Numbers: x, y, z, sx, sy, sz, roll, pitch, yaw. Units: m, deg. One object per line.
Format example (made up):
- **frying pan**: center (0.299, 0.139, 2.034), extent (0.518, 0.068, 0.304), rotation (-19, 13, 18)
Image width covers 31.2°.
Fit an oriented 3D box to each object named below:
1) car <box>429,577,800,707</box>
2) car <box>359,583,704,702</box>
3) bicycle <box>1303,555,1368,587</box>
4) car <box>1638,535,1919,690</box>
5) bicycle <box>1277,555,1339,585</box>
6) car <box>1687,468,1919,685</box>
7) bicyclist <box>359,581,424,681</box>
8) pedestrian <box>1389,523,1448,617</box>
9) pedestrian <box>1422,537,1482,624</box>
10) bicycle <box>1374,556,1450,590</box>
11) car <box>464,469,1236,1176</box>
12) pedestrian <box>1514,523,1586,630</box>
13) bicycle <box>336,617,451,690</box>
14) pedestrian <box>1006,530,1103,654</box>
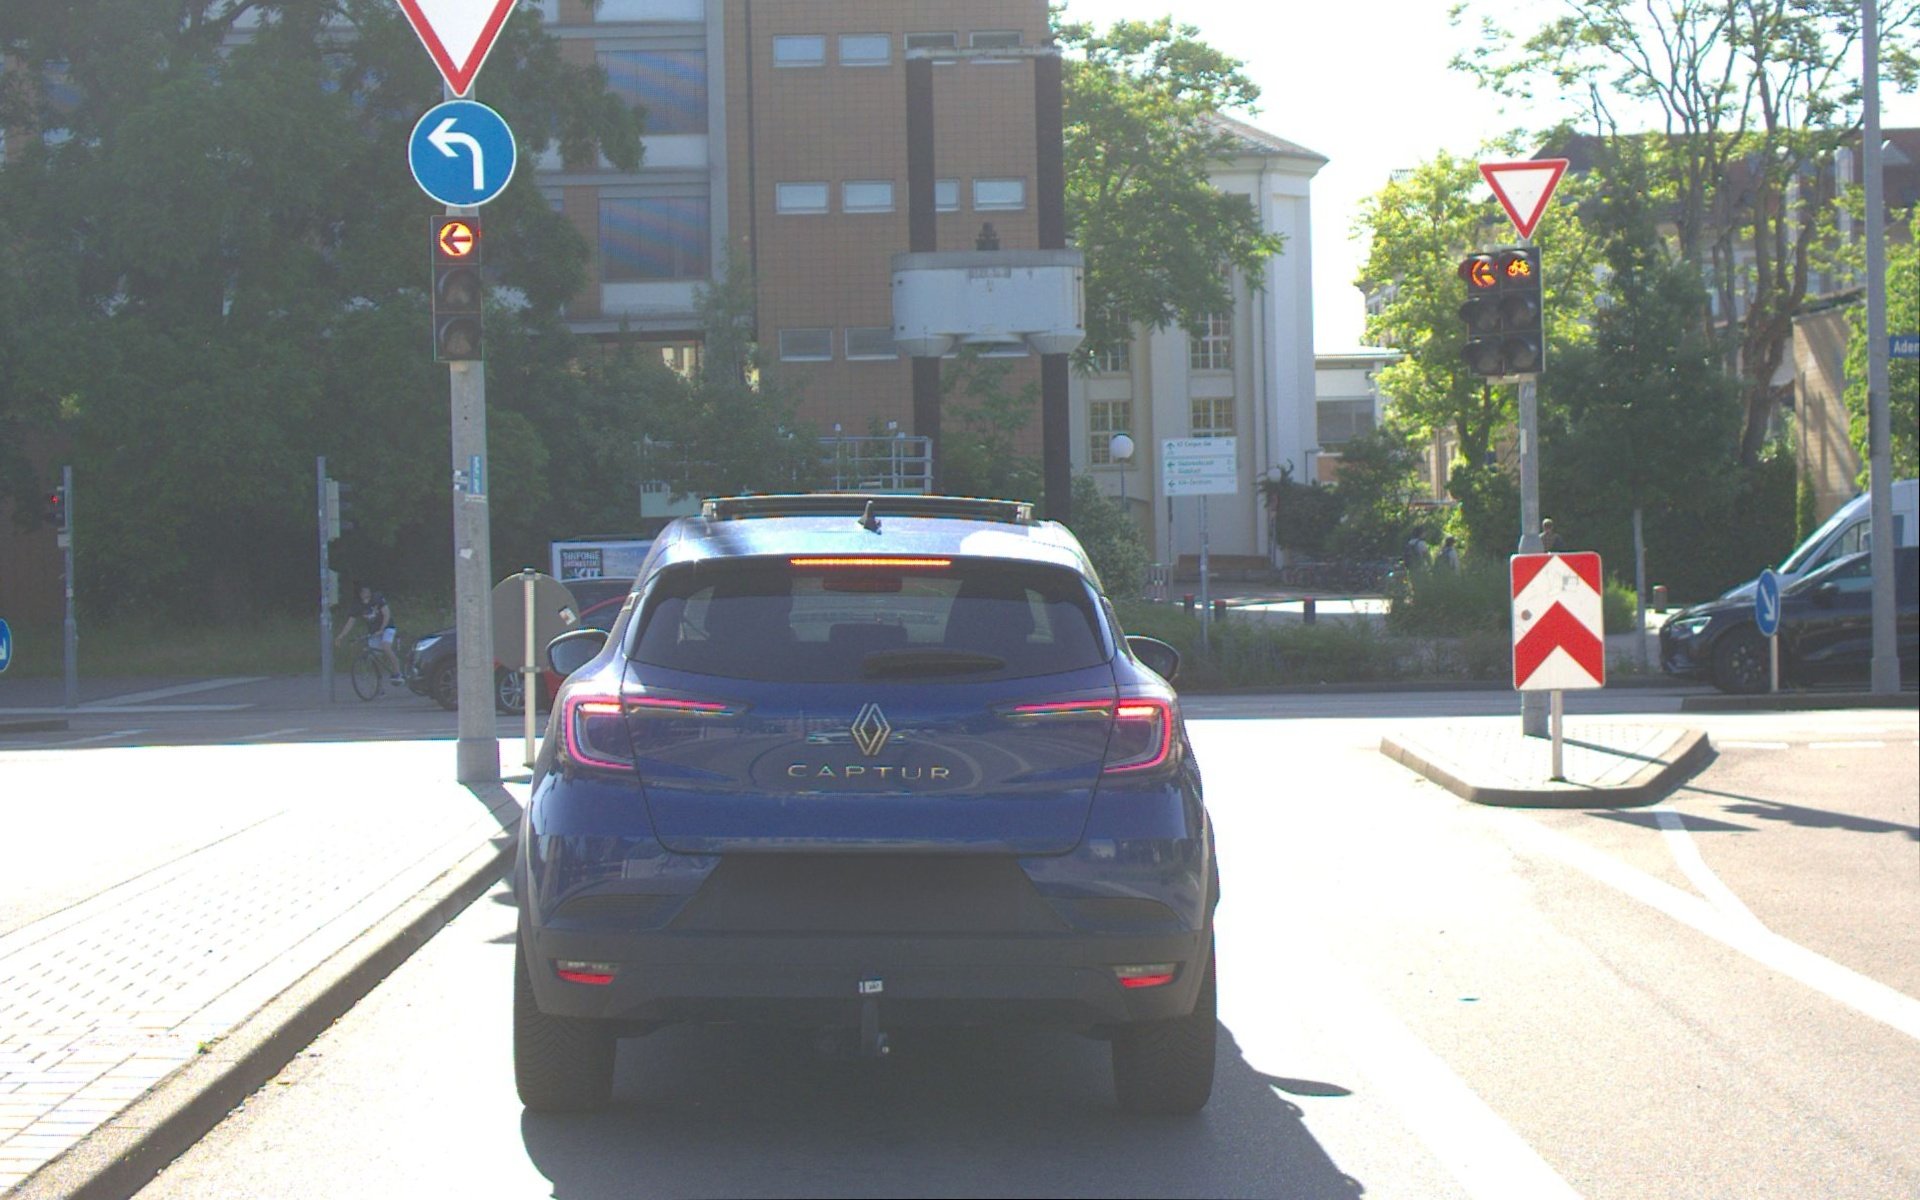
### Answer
- **car**: center (-4.112, 0.493, 41.347), extent (4.046, 1.434, 2.065), rotation (-1, 1, 8)
- **car**: center (-5.597, 0.548, 45.170), extent (4.046, 1.434, 2.065), rotation (-1, 1, 10)
- **bicycle**: center (10.944, -0.860, 100.235), extent (1.771, 0.895, 0.765), rotation (-1, 1, 0)
- **car**: center (10.268, 0.157, 38.676), extent (5.031, 1.667, 1.999), rotation (1, 0, 7)
- **bicycle**: center (10.588, -0.910, 104.598), extent (1.771, 0.890, 0.765), rotation (-1, 1, 0)
- **car**: center (12.559, -0.339, 42.186), extent (6.937, 2.538, 3.012), rotation (-1, 1, 9)
- **bicyclist**: center (-8.144, 0.444, 49.271), extent (0.647, 1.407, 0.638), rotation (-2, -1, 22)
- **pedestrian**: center (8.685, -0.573, 65.209), extent (0.953, 1.735, 0.984), rotation (-1, 1, 0)
- **pedestrian**: center (9.272, -0.373, 64.833), extent (0.936, 1.607, 1.176), rotation (-1, 1, 0)
- **bicycle**: center (11.622, -0.693, 88.436), extent (1.770, 0.820, 0.766), rotation (-1, 1, -10)
- **car**: center (-0.316, 0.481, 9.993), extent (1.794, 1.649, 3.854), rotation (1, 1, -2)
- **pedestrian**: center (11.373, -0.460, 66.325), extent (1.156, 2.007, 1.164), rotation (-1, 1, 0)
- **bicycle**: center (-8.114, 0.766, 49.312), extent (0.699, 1.004, 1.866), rotation (-3, -2, 23)
- **pedestrian**: center (1.433, -0.128, 51.927), extent (1.298, 1.849, 0.966), rotation (-1, 1, 11)
